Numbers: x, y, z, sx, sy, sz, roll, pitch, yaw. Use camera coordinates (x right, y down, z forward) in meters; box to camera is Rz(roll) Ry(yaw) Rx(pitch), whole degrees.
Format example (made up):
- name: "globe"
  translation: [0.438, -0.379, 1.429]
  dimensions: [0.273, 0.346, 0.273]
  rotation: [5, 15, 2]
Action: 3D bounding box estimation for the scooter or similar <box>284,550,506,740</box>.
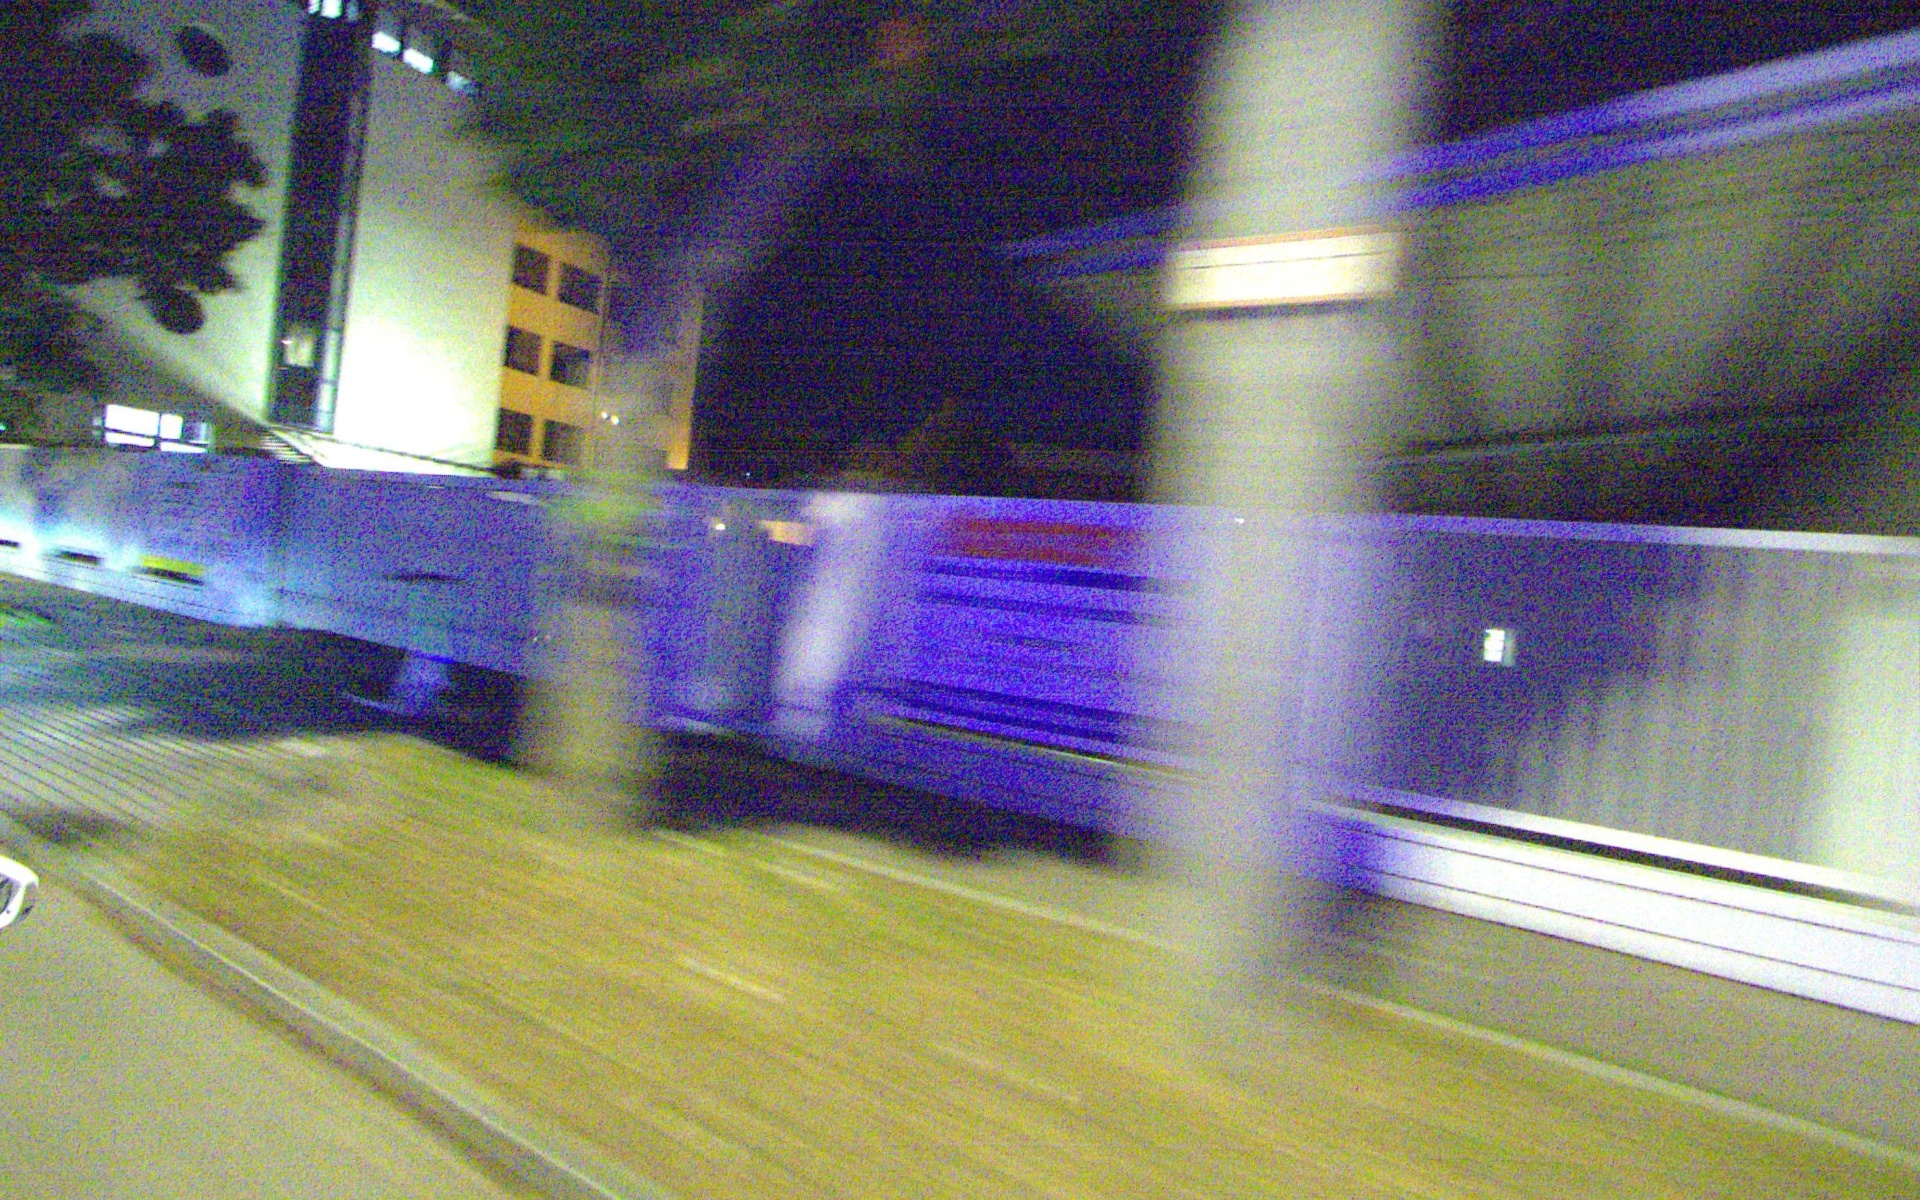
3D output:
- name: "scooter or similar"
  translation: [-4.365, 0.308, 7.720]
  dimensions: [1.879, 1.218, 0.548]
  rotation: [6, 0, 32]
